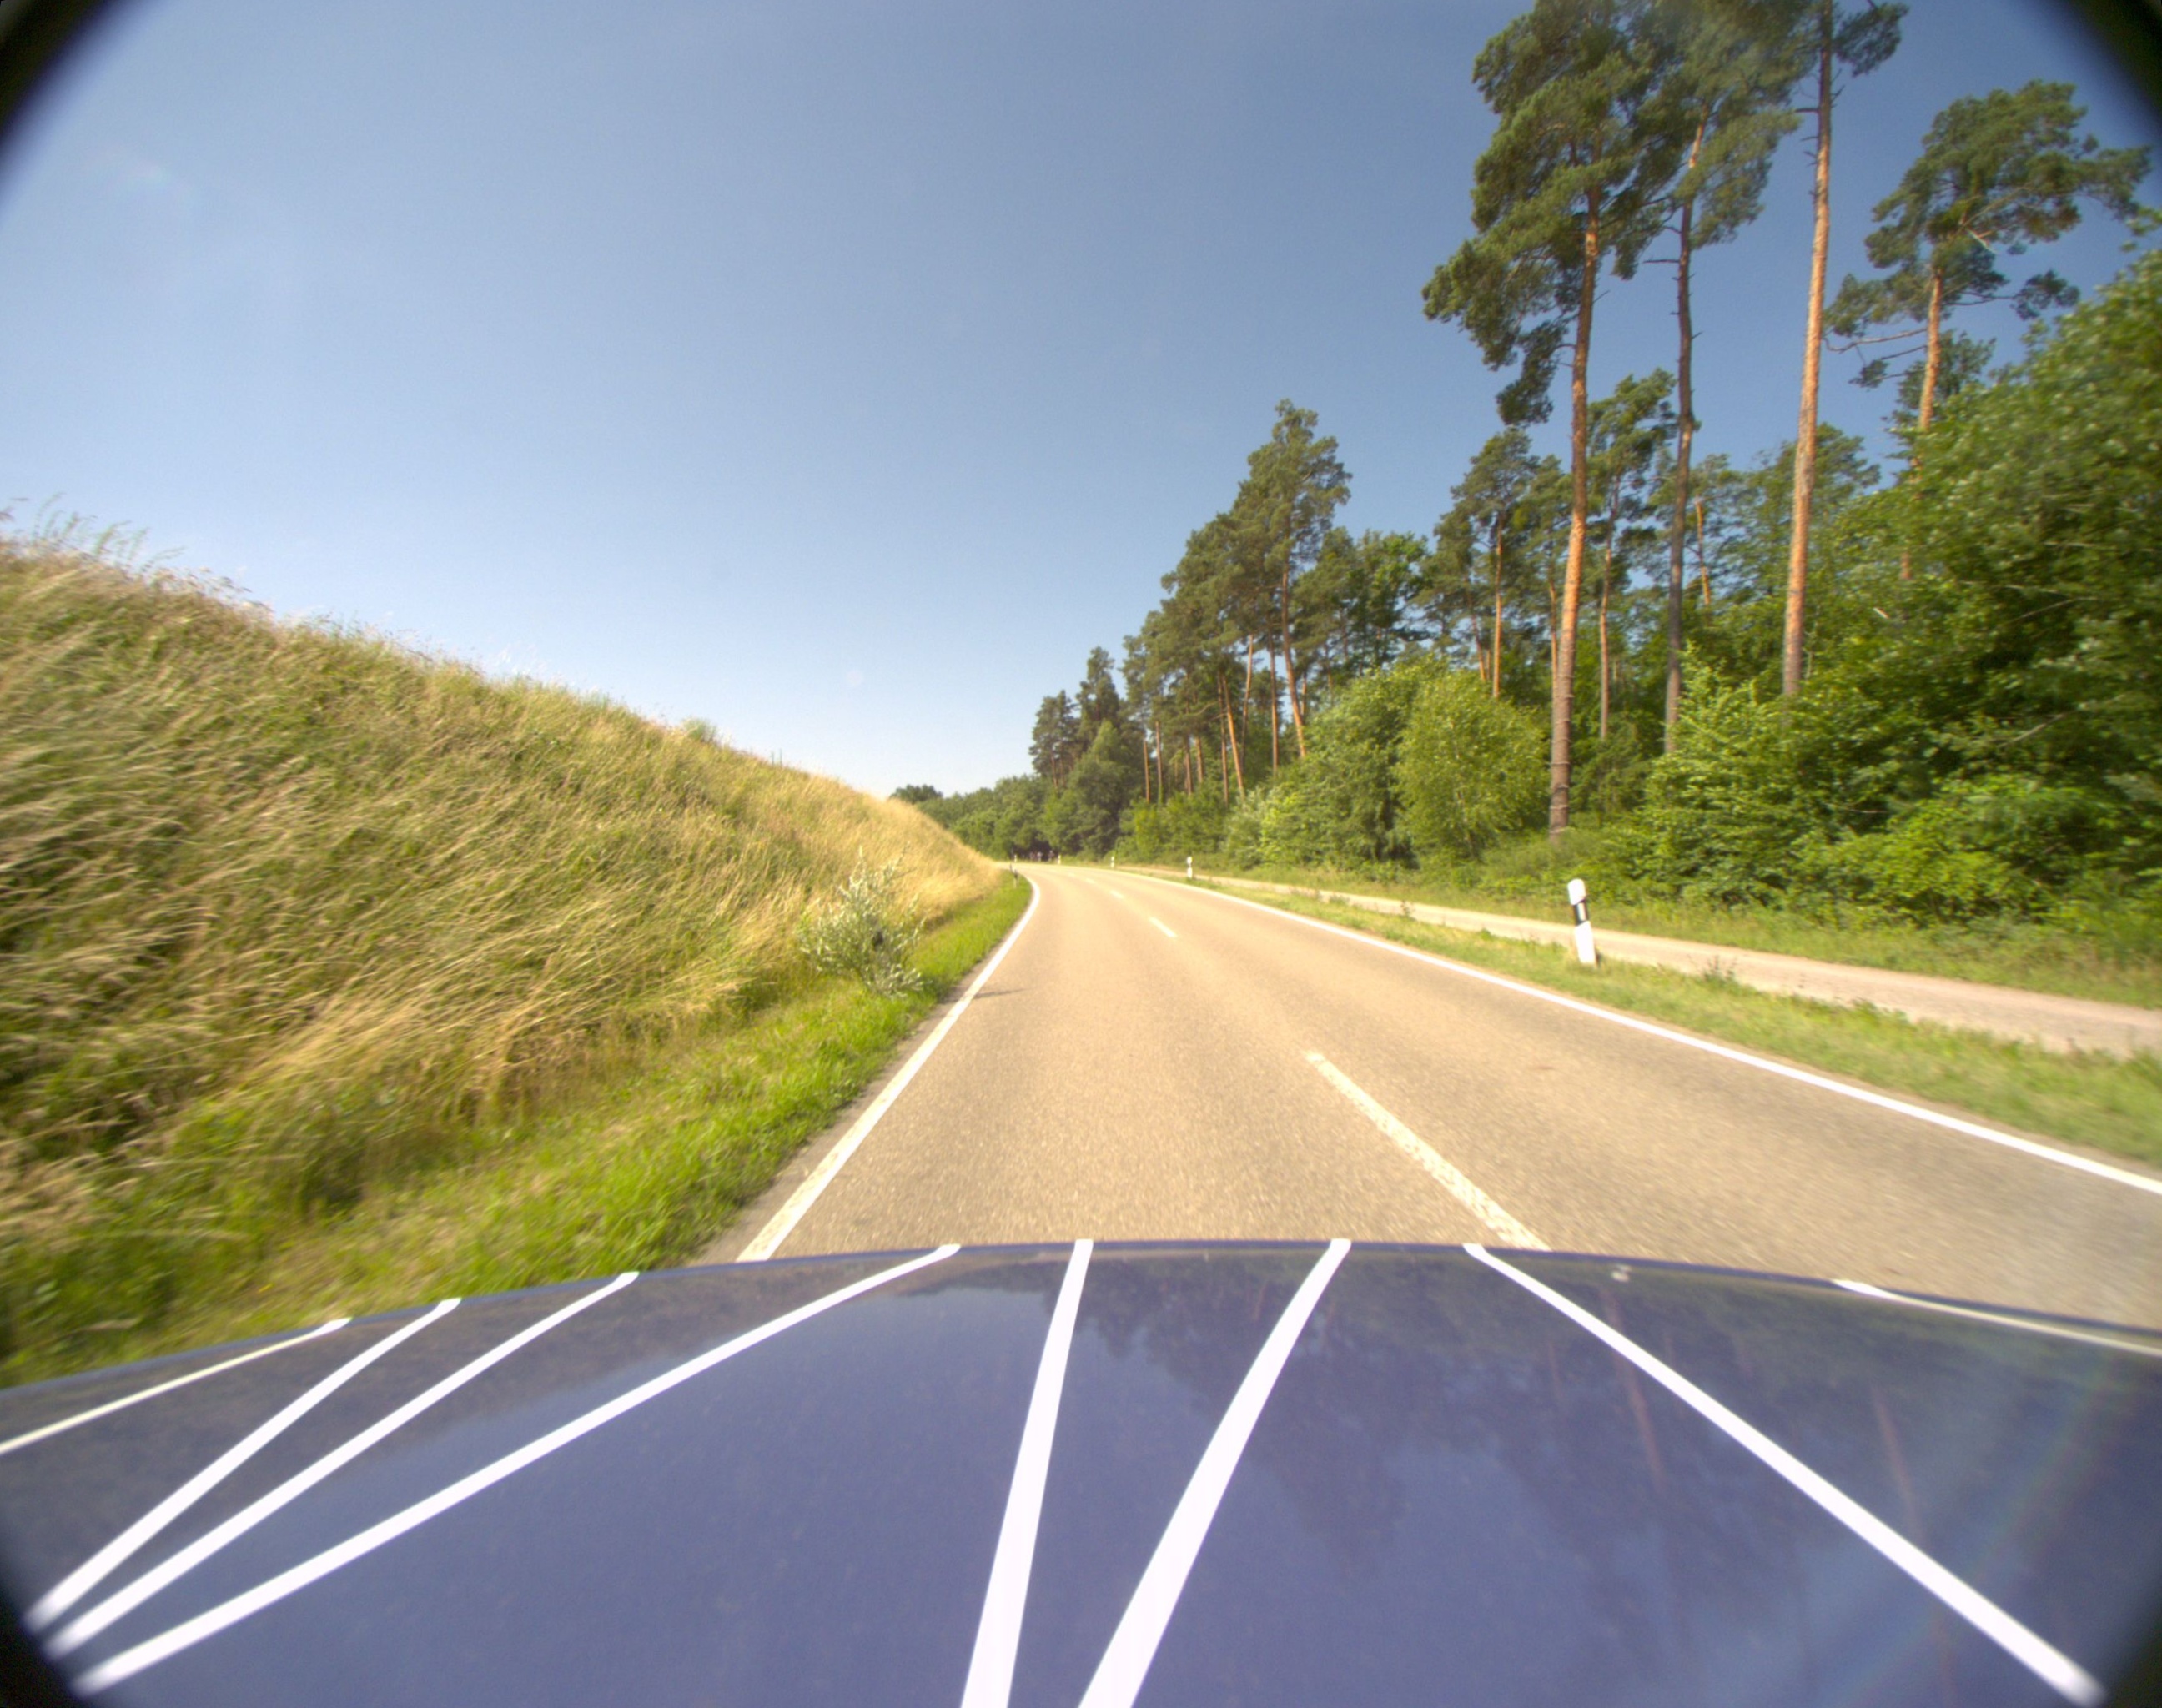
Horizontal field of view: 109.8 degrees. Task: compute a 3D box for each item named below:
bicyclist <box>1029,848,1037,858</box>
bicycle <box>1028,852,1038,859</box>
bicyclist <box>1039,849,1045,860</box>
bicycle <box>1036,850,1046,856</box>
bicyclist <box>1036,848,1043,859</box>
[{"bbox_3d":[-7.677,-0.121,121.902,0.605,1.536,0.872,-8,0,25],"label":"bicyclist"},{"bbox_3d":[-7.630,0.230,121.911,0.605,0.824,1.987,-8,0,25],"label":"bicycle"},{"bbox_3d":[-6.012,0.055,117.435,0.604,1.709,0.790,-1,3,31],"label":"bicyclist"},{"bbox_3d":[-6.416,-0.155,121.832,0.604,0.825,1.987,-2,3,24],"label":"bicycle"},{"bbox_3d":[-6.621,-0.102,121.353,0.604,1.691,0.851,-2,3,24],"label":"bicyclist"}]
